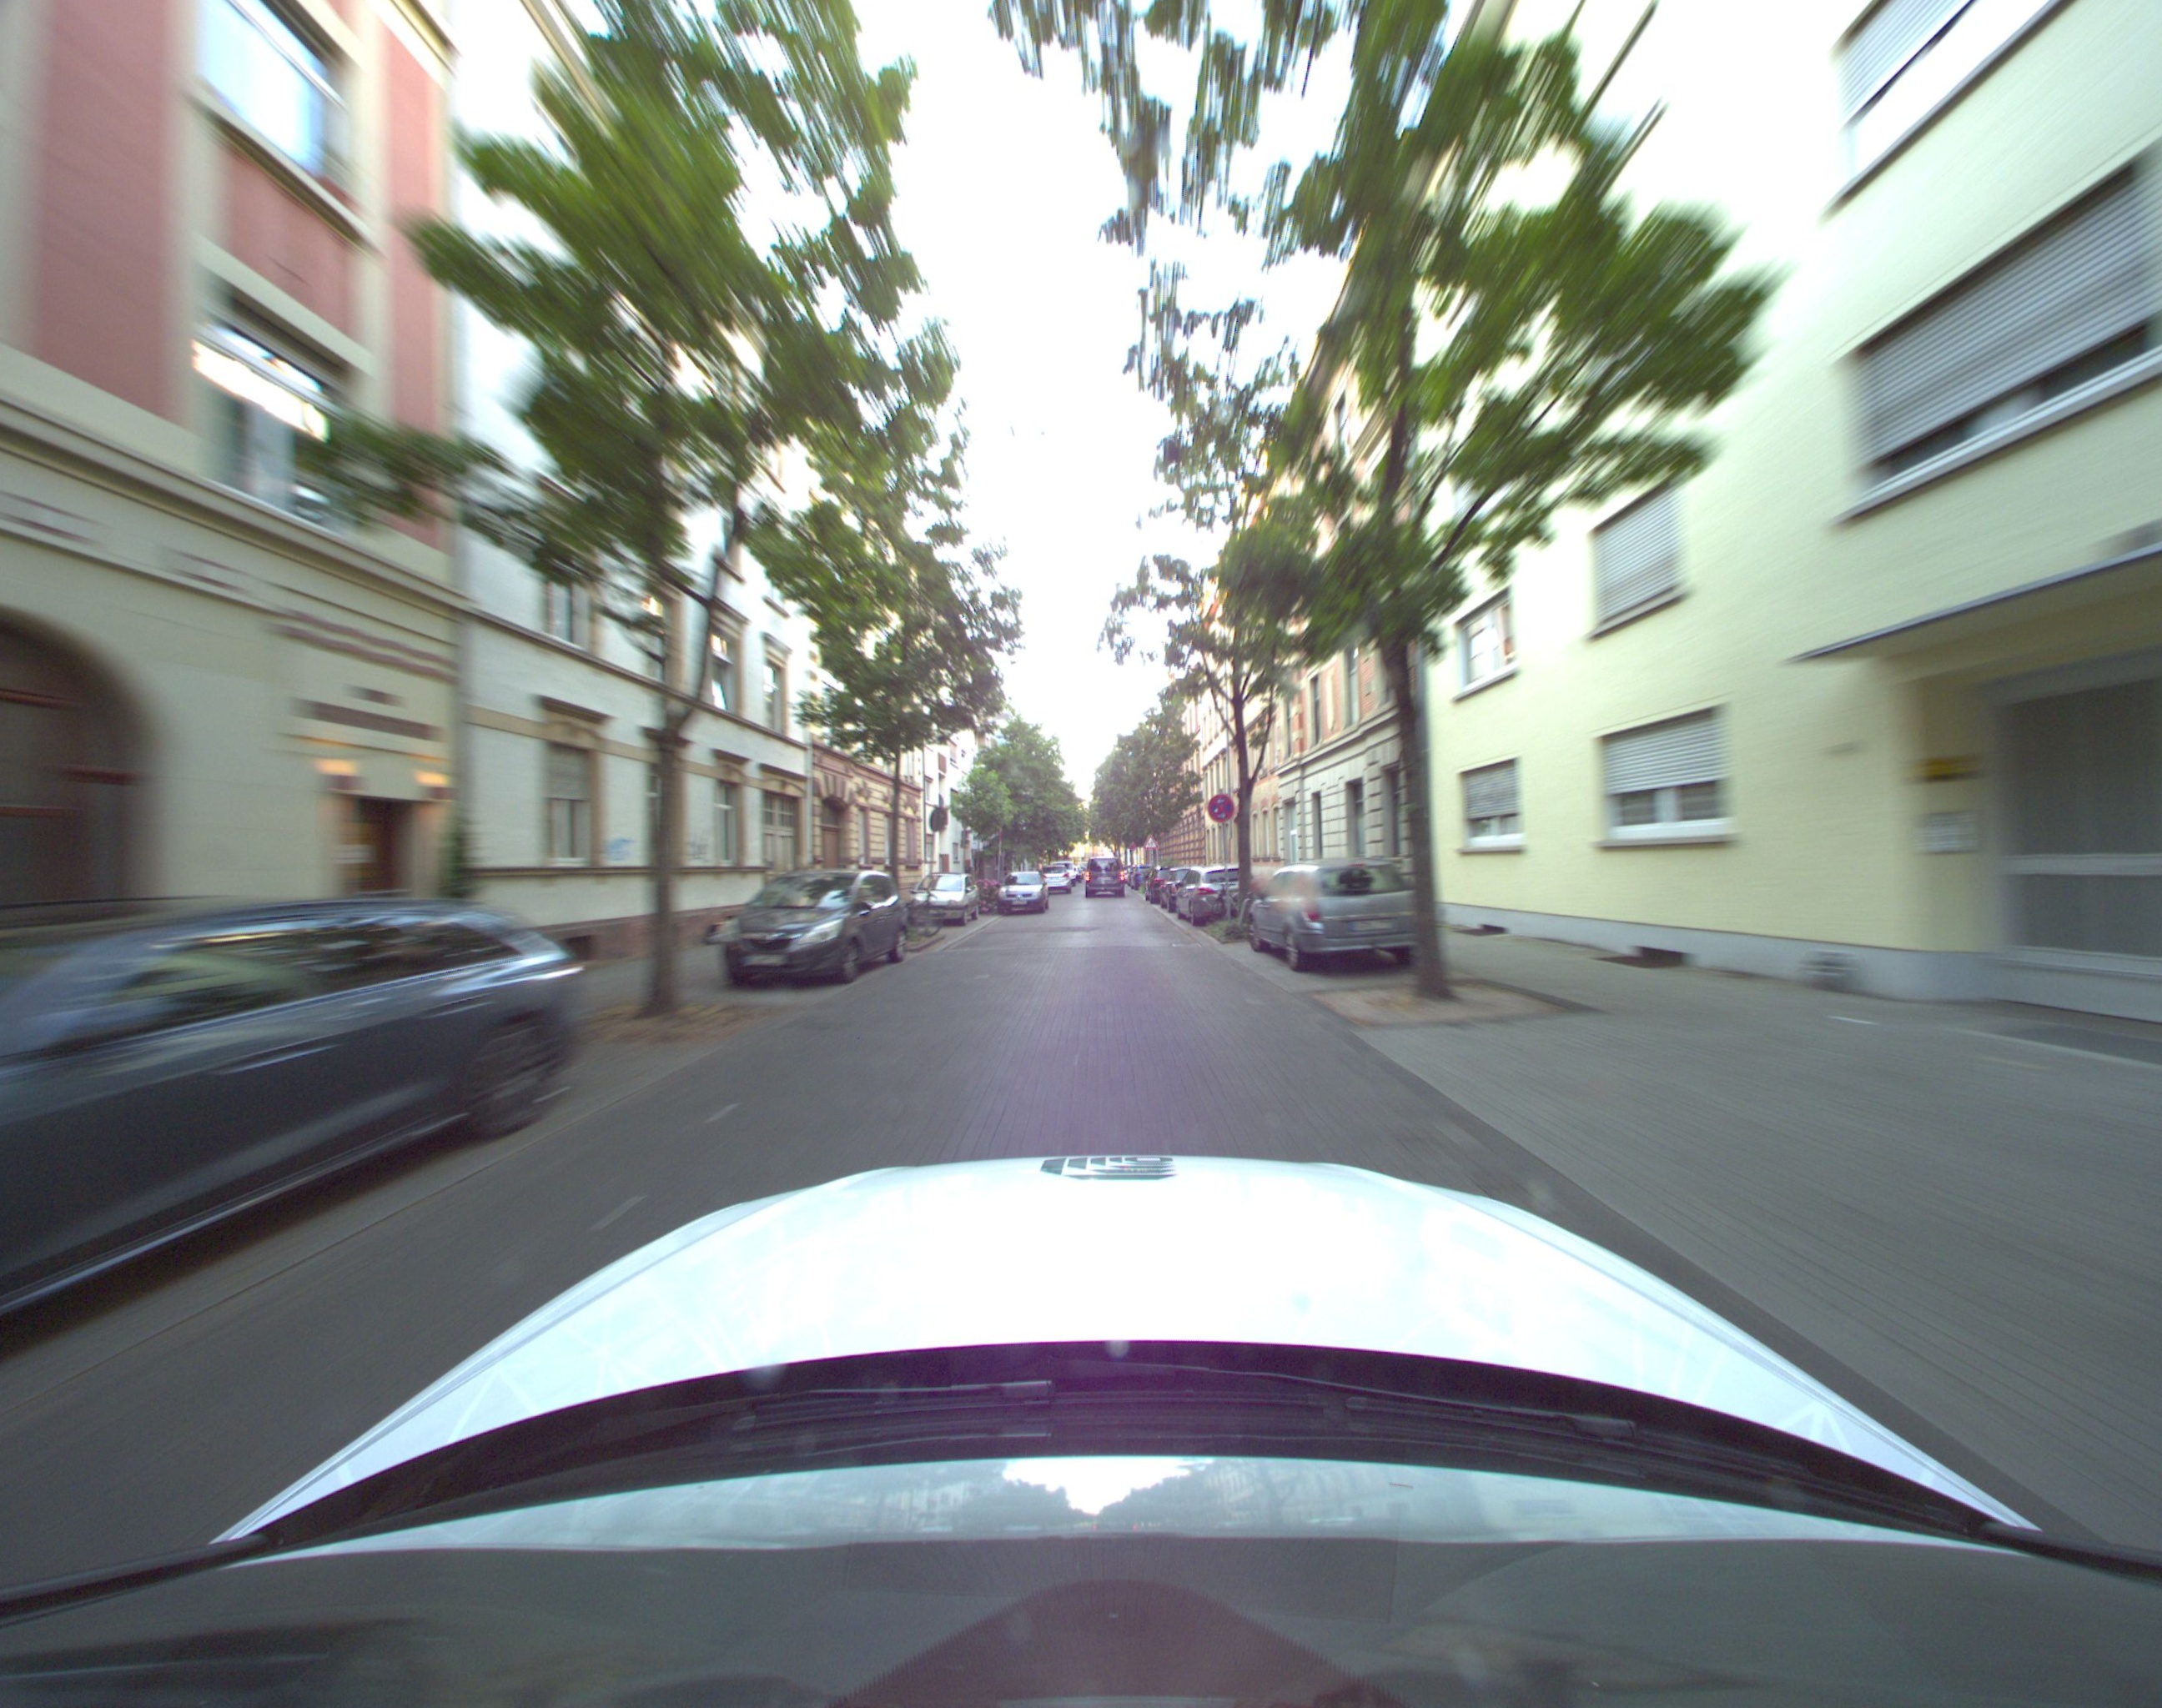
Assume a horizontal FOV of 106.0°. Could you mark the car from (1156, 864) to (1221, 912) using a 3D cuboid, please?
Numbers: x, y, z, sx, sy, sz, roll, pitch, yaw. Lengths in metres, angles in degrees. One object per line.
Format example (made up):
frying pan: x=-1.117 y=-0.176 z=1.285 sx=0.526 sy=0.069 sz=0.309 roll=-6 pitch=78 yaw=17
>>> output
car: x=3.517 y=1.078 z=27.247 sx=1.630 sy=1.424 sz=3.563 roll=-3 pitch=-1 yaw=0

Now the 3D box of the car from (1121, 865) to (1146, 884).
car: x=4.151 y=1.587 z=64.598 sx=1.688 sy=1.401 sz=4.646 roll=-2 pitch=-1 yaw=0

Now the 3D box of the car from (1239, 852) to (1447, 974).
car: x=3.713 y=0.759 z=12.390 sx=1.753 sy=1.463 sz=4.307 roll=-2 pitch=-1 yaw=0

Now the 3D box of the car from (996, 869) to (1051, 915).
car: x=-1.941 y=1.268 z=28.375 sx=1.575 sy=1.420 sz=3.753 roll=-2 pitch=-1 yaw=1

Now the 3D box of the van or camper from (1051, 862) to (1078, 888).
van or camper: x=-1.220 y=1.552 z=60.996 sx=1.871 sy=1.843 sz=4.751 roll=-2 pitch=-1 yaw=-1

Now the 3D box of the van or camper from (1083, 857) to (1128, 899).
van or camper: x=1.230 y=1.137 z=39.681 sx=2.027 sy=1.897 sz=4.273 roll=-1 pitch=-1 yaw=3

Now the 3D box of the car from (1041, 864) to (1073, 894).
car: x=-1.364 y=1.384 z=45.734 sx=1.659 sy=1.563 sz=3.996 roll=-2 pitch=-1 yaw=-2

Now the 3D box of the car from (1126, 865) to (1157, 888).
car: x=4.004 y=1.470 z=54.501 sx=1.706 sy=1.478 sz=4.192 roll=-1 pitch=-1 yaw=0

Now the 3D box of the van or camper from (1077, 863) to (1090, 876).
van or camper: x=0.469 y=2.552 z=132.873 sx=1.855 sy=1.983 sz=4.273 roll=-2 pitch=-1 yaw=2

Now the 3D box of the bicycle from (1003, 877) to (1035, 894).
bicycle: x=-3.378 y=1.701 z=44.209 sx=1.709 sy=0.907 sz=0.380 roll=0 pitch=-2 yaw=-29

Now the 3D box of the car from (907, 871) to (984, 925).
car: x=-3.860 y=1.223 z=23.718 sx=1.582 sy=1.437 sz=3.566 roll=0 pitch=-1 yaw=1

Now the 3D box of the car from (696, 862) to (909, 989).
car: x=-3.945 y=0.920 z=12.322 sx=1.700 sy=1.581 sz=4.079 roll=0 pitch=0 yaw=2

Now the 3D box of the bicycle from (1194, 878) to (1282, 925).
bicycle: x=3.623 y=1.078 z=18.736 sx=1.922 sy=0.982 sz=0.634 roll=-1 pitch=-1 yaw=-21

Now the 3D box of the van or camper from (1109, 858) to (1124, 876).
van or camper: x=5.374 y=1.997 z=123.854 sx=1.987 sy=2.599 sz=5.422 roll=-1 pitch=-1 yaw=0

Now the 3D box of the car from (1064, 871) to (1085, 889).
car: x=-0.577 y=2.374 z=75.267 sx=1.824 sy=1.517 sz=4.515 roll=-2 pitch=-1 yaw=0

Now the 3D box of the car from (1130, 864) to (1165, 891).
car: x=3.848 y=1.328 z=47.792 sx=1.623 sy=1.466 sz=4.243 roll=-2 pitch=-1 yaw=-1

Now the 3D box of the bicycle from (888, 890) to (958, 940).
bicycle: x=-3.666 y=1.380 z=18.861 sx=1.805 sy=1.085 sz=0.672 roll=-2 pitch=-3 yaw=44

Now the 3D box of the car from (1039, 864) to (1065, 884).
car: x=-2.499 y=1.742 z=70.512 sx=1.986 sy=1.647 sz=4.922 roll=0 pitch=-1 yaw=1

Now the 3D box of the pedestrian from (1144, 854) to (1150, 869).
pedestrian: x=7.445 y=0.831 z=91.540 sx=0.625 sy=1.648 sz=0.532 roll=-1 pitch=-1 yaw=1

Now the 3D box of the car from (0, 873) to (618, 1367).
car: x=-4.268 y=0.863 z=3.492 sx=1.799 sy=1.518 sz=4.685 roll=0 pitch=-1 yaw=1

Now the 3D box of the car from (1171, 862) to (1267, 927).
car: x=3.535 y=0.995 z=21.638 sx=1.712 sy=1.476 sz=4.366 roll=-3 pitch=-1 yaw=-1

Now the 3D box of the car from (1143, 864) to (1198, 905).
car: x=3.512 y=1.161 z=32.594 sx=1.760 sy=1.415 sz=4.474 roll=-4 pitch=-1 yaw=1
